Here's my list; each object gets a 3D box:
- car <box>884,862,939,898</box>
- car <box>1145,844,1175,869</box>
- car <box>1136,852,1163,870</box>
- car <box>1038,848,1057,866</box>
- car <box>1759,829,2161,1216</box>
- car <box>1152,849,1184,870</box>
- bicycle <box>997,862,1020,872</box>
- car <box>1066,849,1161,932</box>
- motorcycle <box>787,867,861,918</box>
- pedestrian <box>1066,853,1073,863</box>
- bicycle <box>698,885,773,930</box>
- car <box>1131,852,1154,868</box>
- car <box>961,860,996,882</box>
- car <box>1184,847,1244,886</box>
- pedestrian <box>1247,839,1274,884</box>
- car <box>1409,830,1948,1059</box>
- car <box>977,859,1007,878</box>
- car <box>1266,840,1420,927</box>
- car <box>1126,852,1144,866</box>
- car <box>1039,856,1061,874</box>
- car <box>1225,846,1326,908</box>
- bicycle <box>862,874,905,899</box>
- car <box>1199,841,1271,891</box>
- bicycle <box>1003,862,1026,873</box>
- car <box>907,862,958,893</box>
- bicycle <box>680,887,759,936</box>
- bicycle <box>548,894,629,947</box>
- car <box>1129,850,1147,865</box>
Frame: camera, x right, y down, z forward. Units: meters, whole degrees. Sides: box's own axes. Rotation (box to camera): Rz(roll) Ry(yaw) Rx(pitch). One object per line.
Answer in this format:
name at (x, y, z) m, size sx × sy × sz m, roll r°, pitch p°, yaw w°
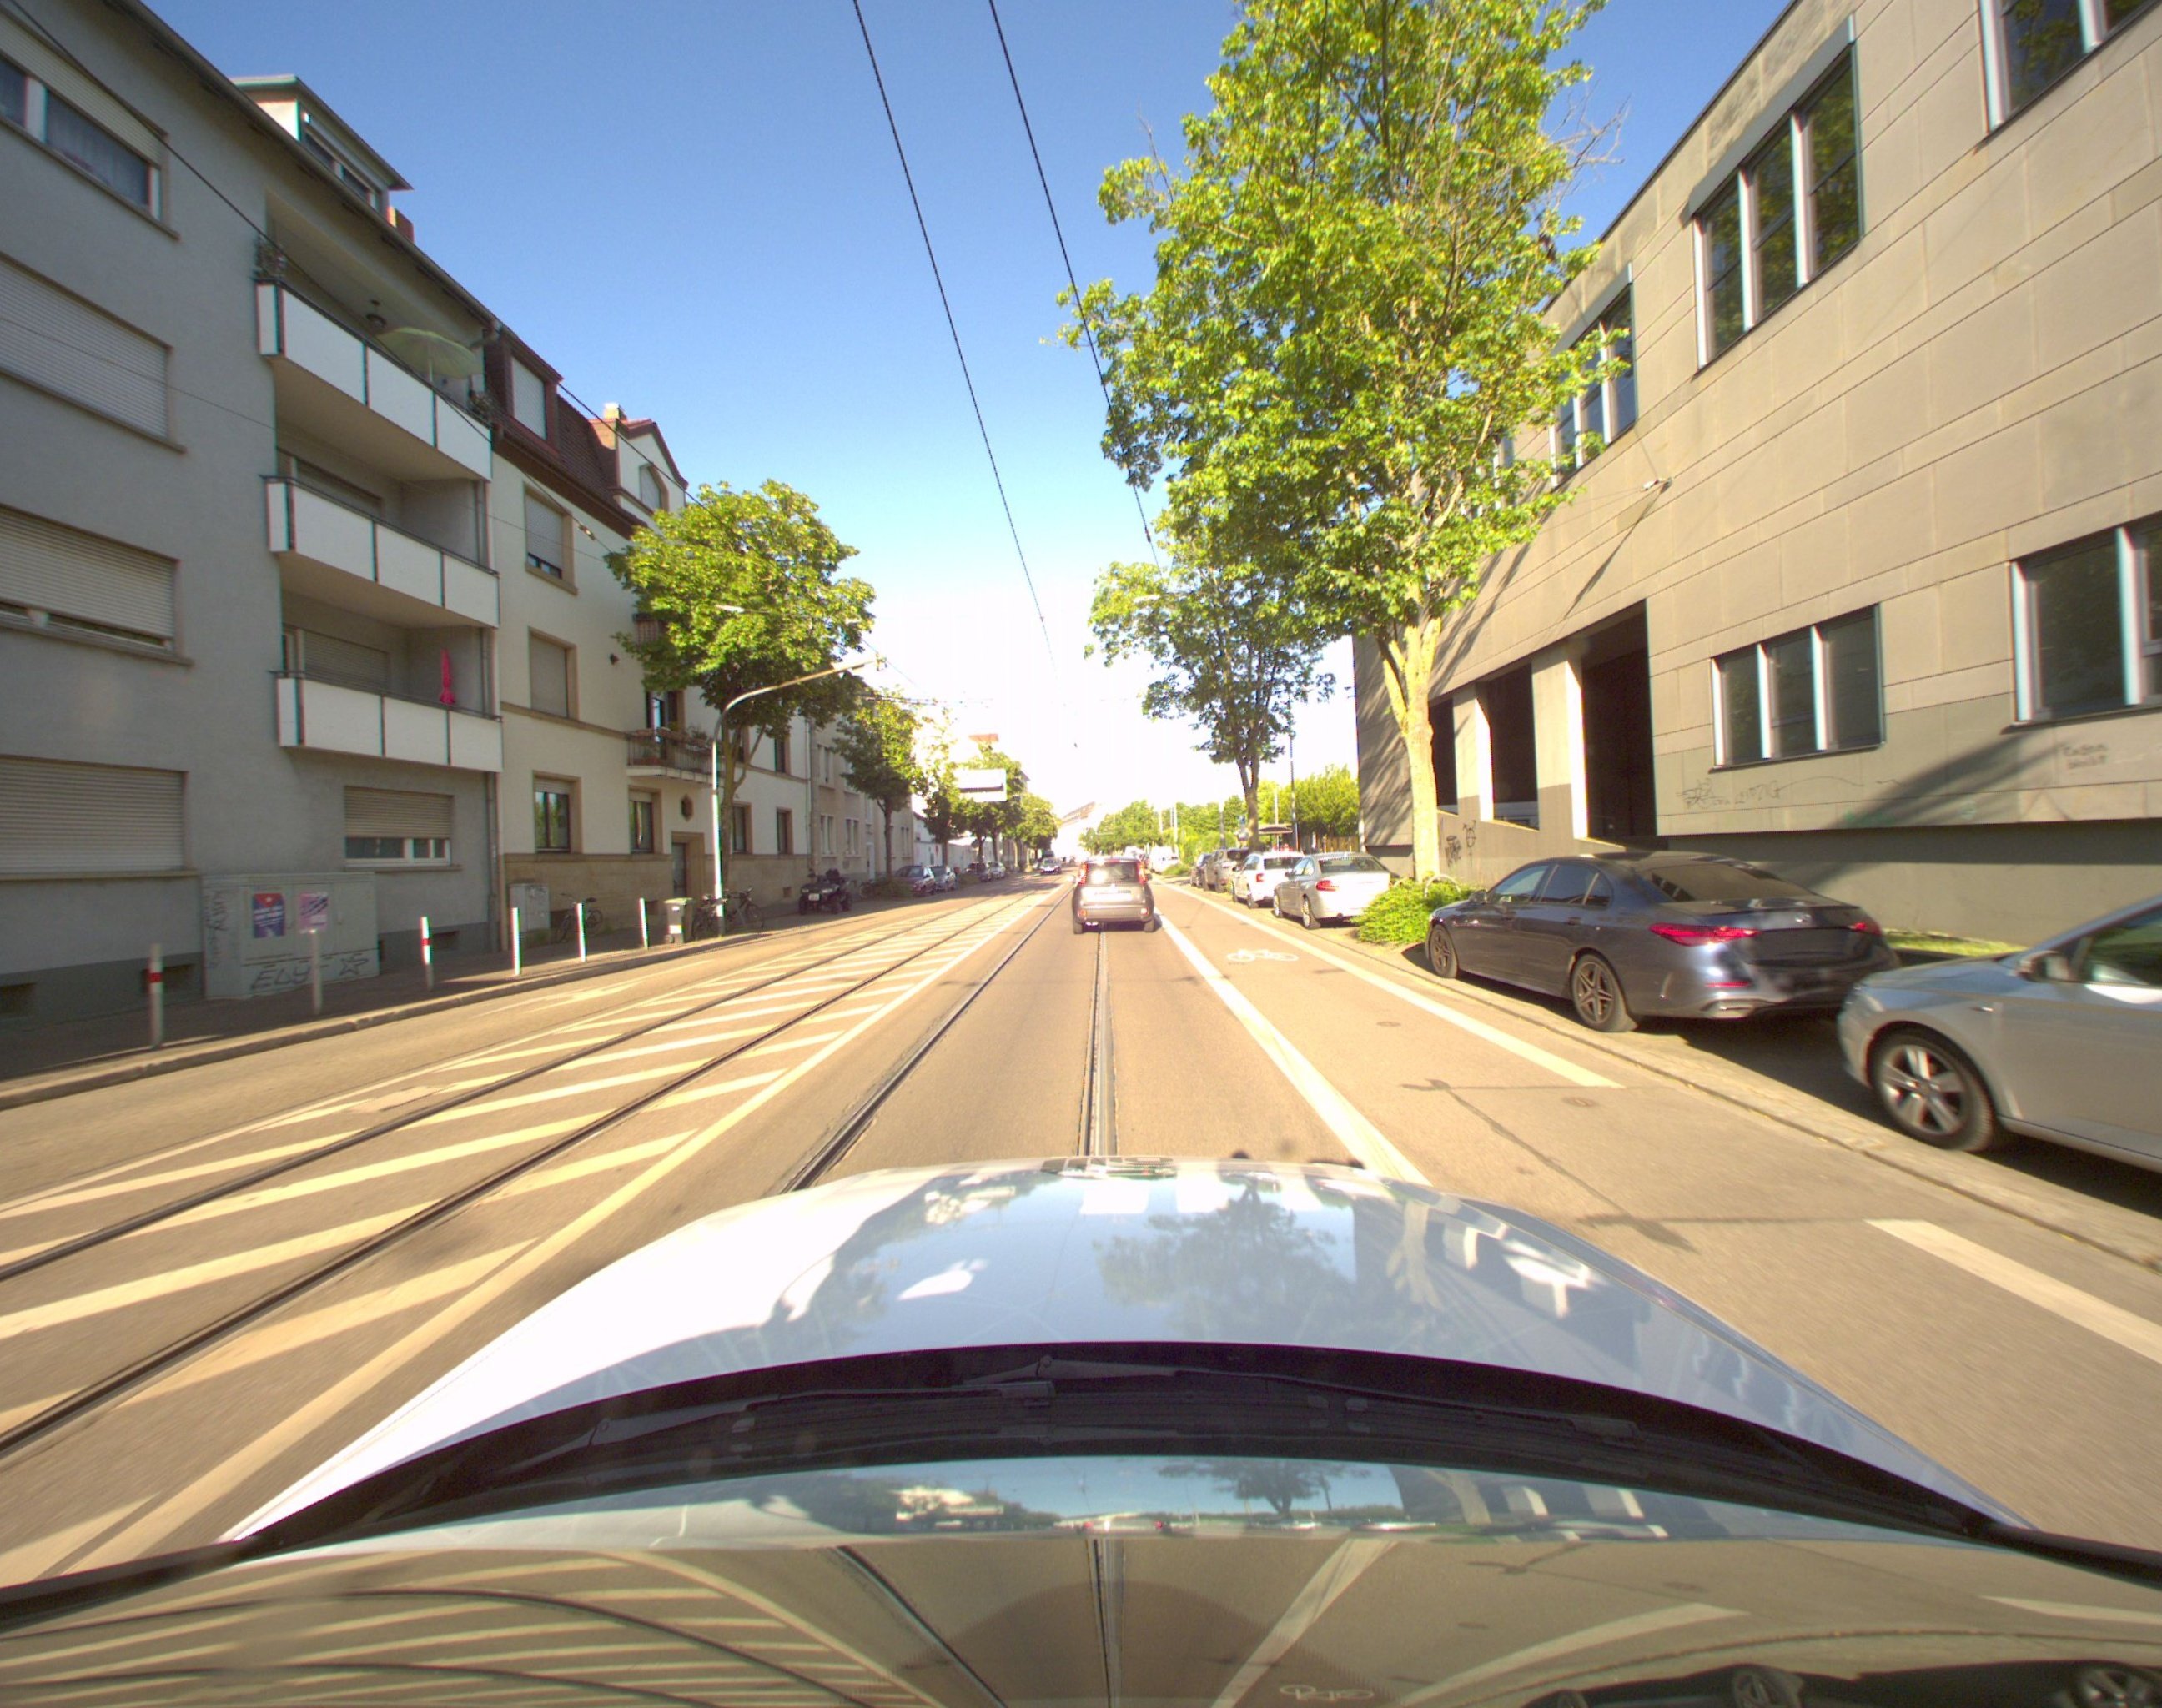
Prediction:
car at (-8.108, 1.222, 39.301) m, size 1.792 × 1.486 × 3.999 m, roll -3°, pitch 0°, yaw -1°
car at (6.357, 0.180, 66.062) m, size 1.950 × 1.905 × 4.187 m, roll -3°, pitch 0°, yaw 0°
car at (6.035, 0.631, 71.775) m, size 1.950 × 1.419 × 4.187 m, roll -3°, pitch 0°, yaw 0°
car at (-4.988, 0.451, 122.495) m, size 2.325 × 2.569 × 5.673 m, roll -3°, pitch 0°, yaw 1°
car at (4.993, 0.641, 3.068) m, size 1.635 × 1.455 × 3.916 m, roll -3°, pitch 0°, yaw 2°
car at (6.506, 0.412, 61.146) m, size 1.908 × 1.375 × 4.187 m, roll -3°, pitch 0°, yaw 0°
bicycle at (-7.413, 1.363, 83.173) m, size 2.236 × 0.930 × 0.796 m, roll -3°, pitch 0°, yaw 37°
car at (0.668, 0.705, 17.421) m, size 1.725 × 1.500 × 4.001 m, roll -3°, pitch -1°, yaw 1°
motorcycle at (-8.685, 1.262, 27.740) m, size 1.453 × 1.481 × 3.102 m, roll -3°, pitch 0°, yaw 0°
pedestrian at (-1.980, 0.715, 141.170) m, size 0.999 × 1.774 × 0.886 m, roll -3°, pitch 0°, yaw -13°
bicycle at (-8.761, 1.344, 20.687) m, size 1.711 × 1.033 × 0.441 m, roll -1°, pitch -1°, yaw -20°
car at (5.994, 0.527, 79.740) m, size 1.950 × 1.419 × 4.187 m, roll -3°, pitch 0°, yaw 0°
car at (-7.517, 1.194, 60.055) m, size 1.950 × 1.419 × 4.187 m, roll -3°, pitch 0°, yaw 0°
car at (5.683, 0.520, 35.289) m, size 1.837 × 1.483 × 4.187 m, roll -3°, pitch 0°, yaw 0°
pedestrian at (8.278, 0.354, 37.541) m, size 0.964 × 2.013 × 1.026 m, roll -3°, pitch 0°, yaw 2°
car at (5.111, 0.628, 8.005) m, size 1.833 × 1.490 × 4.641 m, roll -3°, pitch 0°, yaw 0°
car at (-7.312, 1.192, 67.367) m, size 1.950 × 1.419 × 4.187 m, roll -3°, pitch 0°, yaw 0°
car at (5.175, 0.533, 16.693) m, size 1.816 × 1.464 × 4.157 m, roll -3°, pitch 0°, yaw 1°
car at (6.257, 0.507, 94.571) m, size 1.690 × 1.499 × 4.000 m, roll -3°, pitch 0°, yaw 0°
car at (-2.732, 0.932, 72.307) m, size 1.775 × 1.492 × 4.187 m, roll -2°, pitch 0°, yaw 0°
car at (5.262, 0.560, 22.634) m, size 1.739 × 1.458 × 4.620 m, roll -3°, pitch 0°, yaw 2°
bicycle at (-8.559, 1.403, 35.334) m, size 1.749 × 1.023 × 0.605 m, roll -1°, pitch -1°, yaw -19°
car at (5.633, 0.418, 30.190) m, size 1.811 × 1.640 × 4.104 m, roll -3°, pitch 0°, yaw 0°
bicycle at (-6.863, 1.398, 84.015) m, size 2.295 × 0.930 × 0.796 m, roll -3°, pitch 0°, yaw 37°
car at (-8.051, 1.241, 44.543) m, size 1.950 × 1.419 × 4.187 m, roll -3°, pitch 0°, yaw 0°
bicycle at (-8.411, 1.321, 18.977) m, size 1.618 × 1.044 × 0.454 m, roll -1°, pitch -1°, yaw -31°
bicycle at (-11.108, 1.467, 18.440) m, size 0.504 × 1.007 × 2.020 m, roll -3°, pitch 0°, yaw 1°
car at (6.140, 0.376, 88.151) m, size 1.690 × 1.547 × 4.000 m, roll -3°, pitch 0°, yaw 0°
